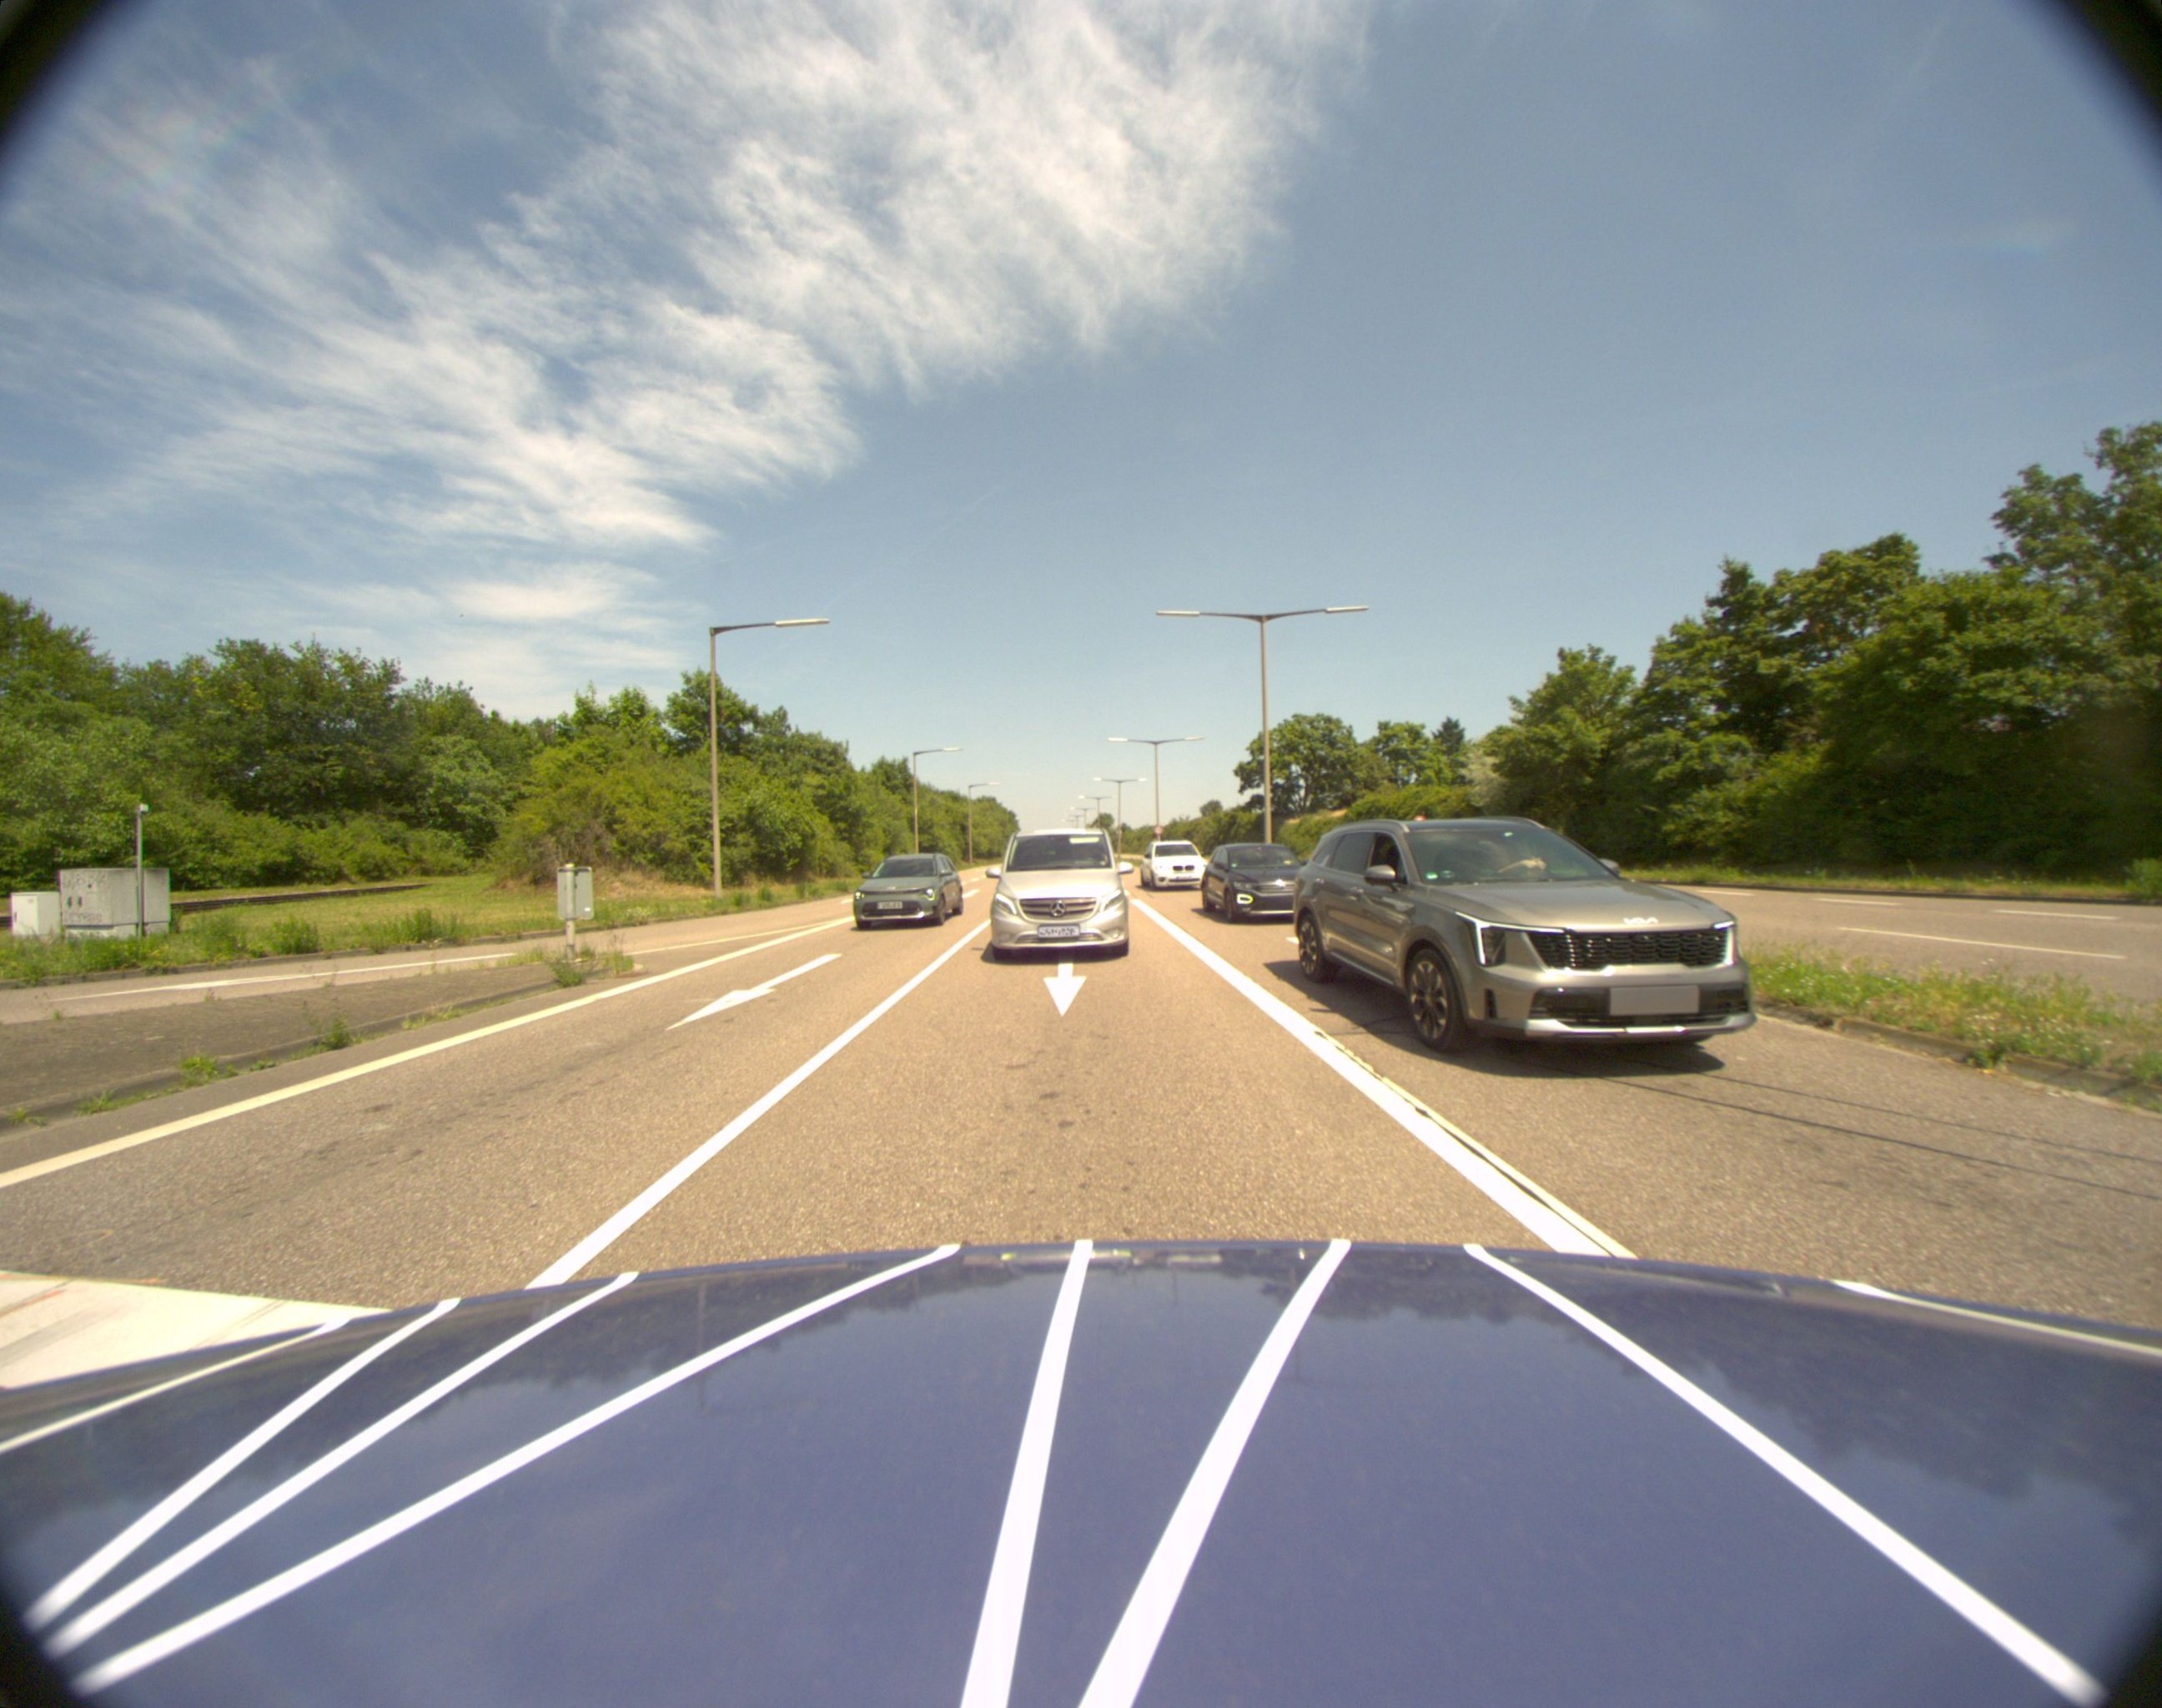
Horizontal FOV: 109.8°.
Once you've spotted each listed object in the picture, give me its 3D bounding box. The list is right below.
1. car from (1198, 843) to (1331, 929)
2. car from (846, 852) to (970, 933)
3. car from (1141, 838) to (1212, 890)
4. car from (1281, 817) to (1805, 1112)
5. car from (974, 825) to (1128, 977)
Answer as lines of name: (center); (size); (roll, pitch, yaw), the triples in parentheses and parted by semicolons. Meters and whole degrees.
car: (3.610, 0.552, 15.660); (1.753, 1.491, 3.999); (-2, 1, 0)
car: (-3.753, 0.765, 17.206); (1.722, 1.587, 4.000); (-1, 1, 2)
car: (3.287, 0.300, 26.905); (1.921, 1.662, 4.000); (-1, 1, -1)
car: (3.260, 0.608, 6.625); (1.785, 1.658, 4.530); (-1, 1, 0)
car: (-0.321, 0.552, 12.356); (1.876, 1.866, 5.731); (-1, 1, 1)
